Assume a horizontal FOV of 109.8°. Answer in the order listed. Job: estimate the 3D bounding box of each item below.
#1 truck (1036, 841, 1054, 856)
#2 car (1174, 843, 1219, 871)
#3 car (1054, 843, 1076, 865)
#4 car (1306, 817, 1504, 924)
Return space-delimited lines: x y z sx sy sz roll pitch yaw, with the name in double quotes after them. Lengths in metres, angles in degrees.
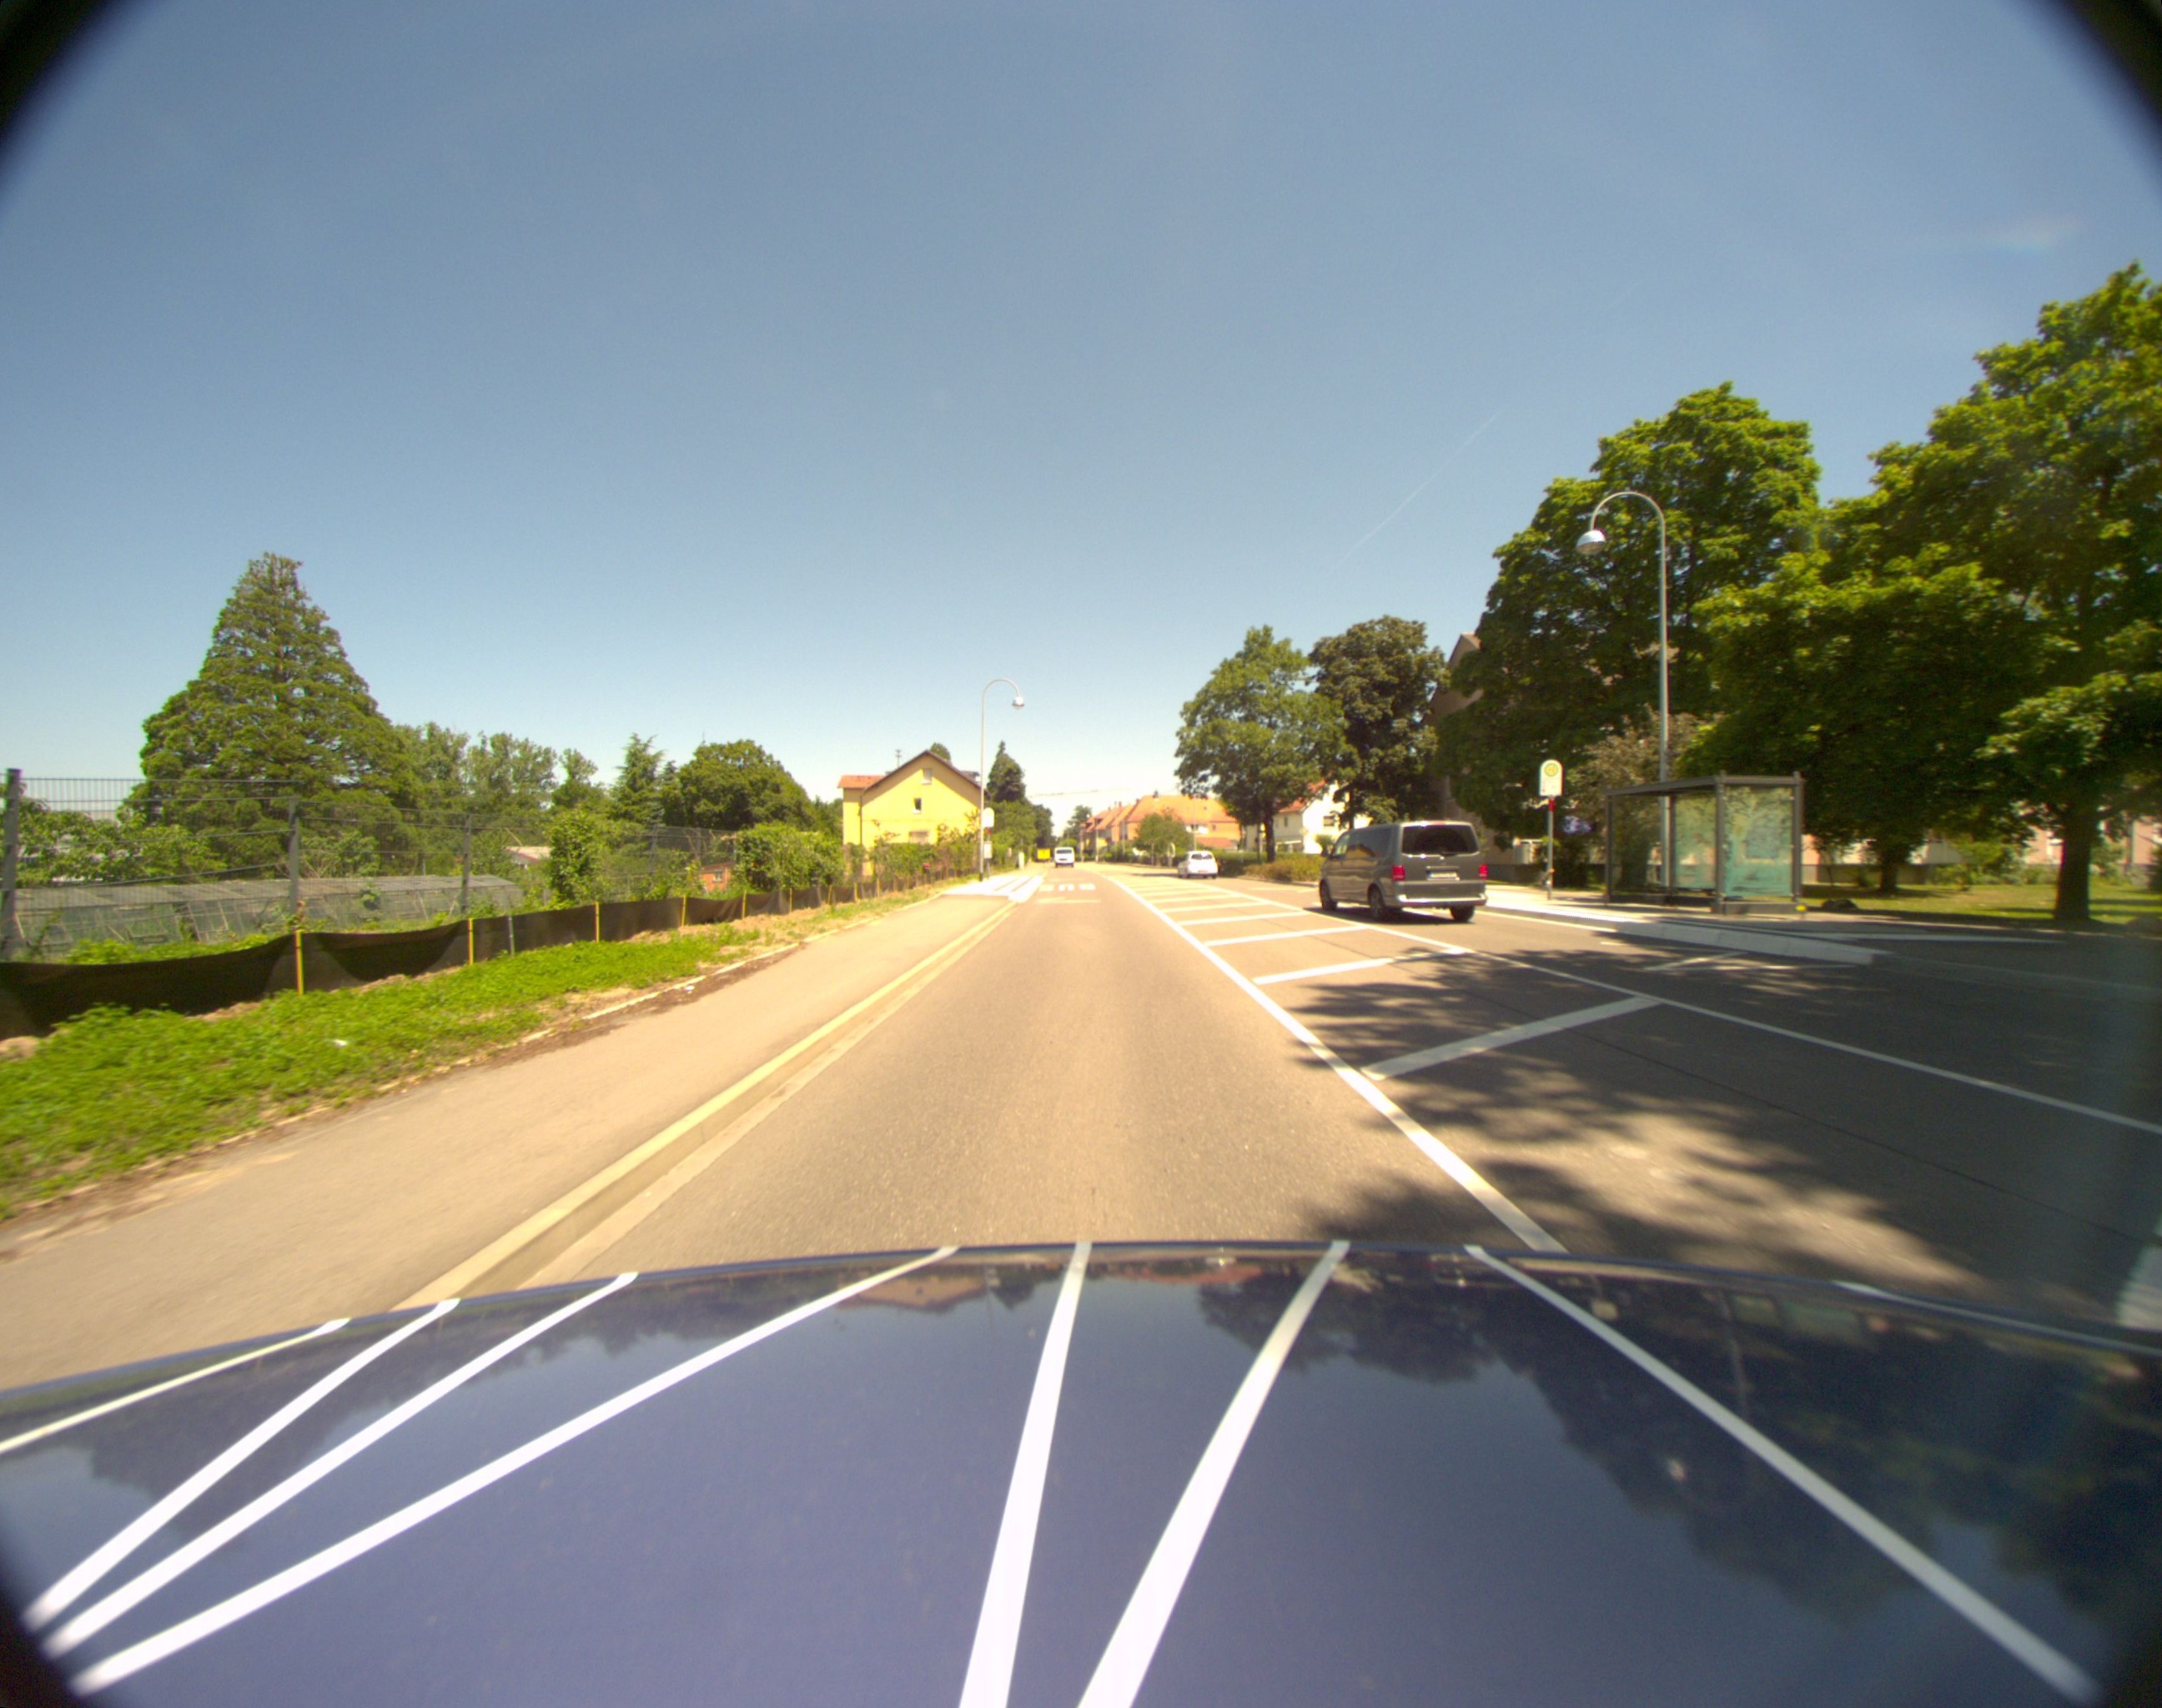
-5.895 -0.851 122.513 2.020 2.295 6.170 -3 1 -10 "truck"
6.297 0.146 41.627 1.695 1.451 3.638 -1 0 -3 "car"
-1.634 -0.004 76.240 1.999 2.002 4.384 -2 0 -4 "car"
6.619 0.283 16.269 1.999 1.899 4.990 -1 1 -1 "car"
